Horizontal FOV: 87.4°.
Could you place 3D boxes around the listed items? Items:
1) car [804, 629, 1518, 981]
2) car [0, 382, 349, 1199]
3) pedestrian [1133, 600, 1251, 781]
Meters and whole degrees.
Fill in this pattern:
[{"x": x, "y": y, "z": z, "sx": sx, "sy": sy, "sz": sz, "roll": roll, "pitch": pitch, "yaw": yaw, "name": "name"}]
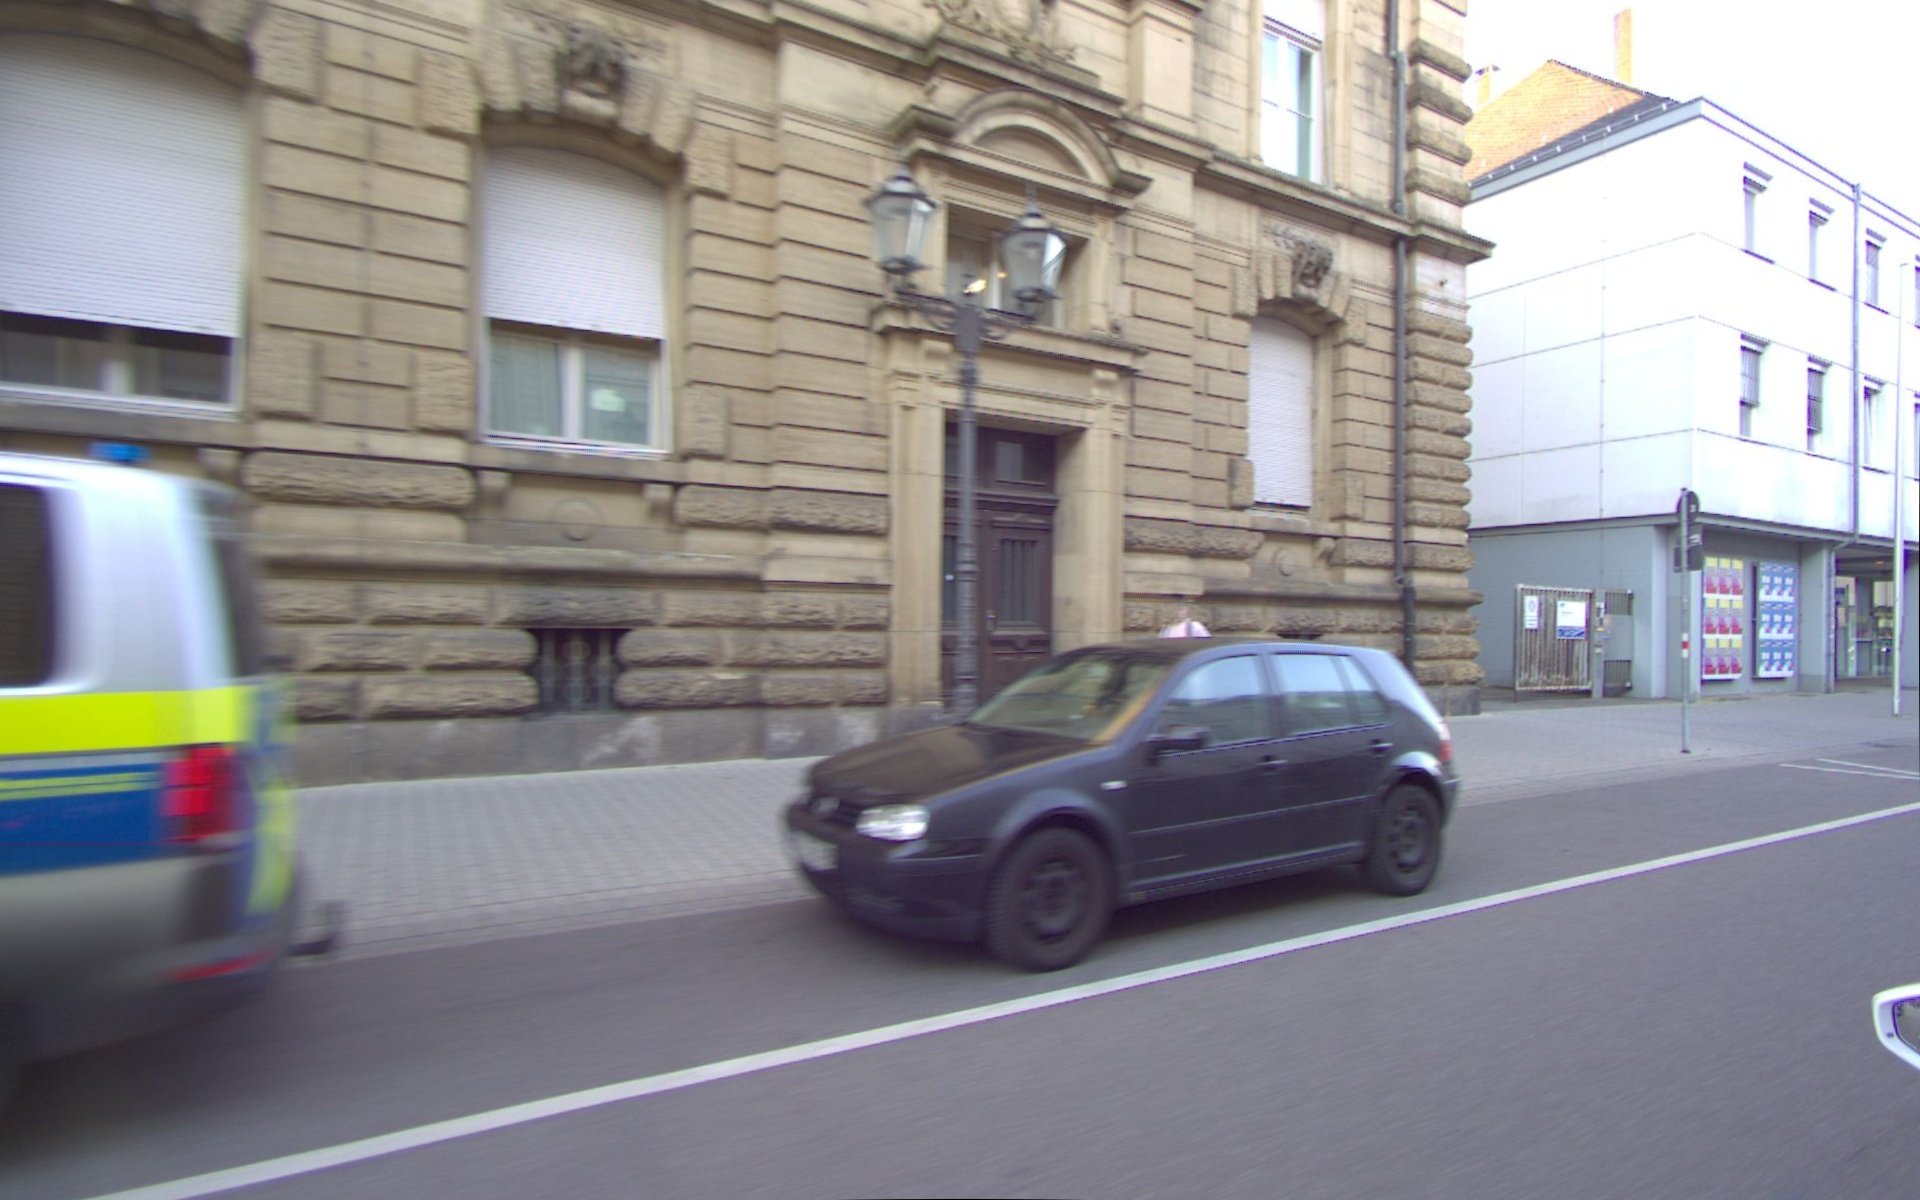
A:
[{"x": 1.323, "y": 0.974, "z": 6.275, "sx": 4.115, "sy": 1.514, "sz": 1.984, "roll": 2, "pitch": -2, "yaw": -30, "name": "car"}, {"x": -4.447, "y": 0.441, "z": 2.486, "sx": 4.934, "sy": 2.105, "sz": 1.983, "roll": 2, "pitch": -1, "yaw": -32, "name": "car"}, {"x": 2.384, "y": 0.898, "z": 10.352, "sx": 0.885, "sy": 1.753, "sz": 0.710, "roll": 1, "pitch": 2, "yaw": -29, "name": "pedestrian"}]
